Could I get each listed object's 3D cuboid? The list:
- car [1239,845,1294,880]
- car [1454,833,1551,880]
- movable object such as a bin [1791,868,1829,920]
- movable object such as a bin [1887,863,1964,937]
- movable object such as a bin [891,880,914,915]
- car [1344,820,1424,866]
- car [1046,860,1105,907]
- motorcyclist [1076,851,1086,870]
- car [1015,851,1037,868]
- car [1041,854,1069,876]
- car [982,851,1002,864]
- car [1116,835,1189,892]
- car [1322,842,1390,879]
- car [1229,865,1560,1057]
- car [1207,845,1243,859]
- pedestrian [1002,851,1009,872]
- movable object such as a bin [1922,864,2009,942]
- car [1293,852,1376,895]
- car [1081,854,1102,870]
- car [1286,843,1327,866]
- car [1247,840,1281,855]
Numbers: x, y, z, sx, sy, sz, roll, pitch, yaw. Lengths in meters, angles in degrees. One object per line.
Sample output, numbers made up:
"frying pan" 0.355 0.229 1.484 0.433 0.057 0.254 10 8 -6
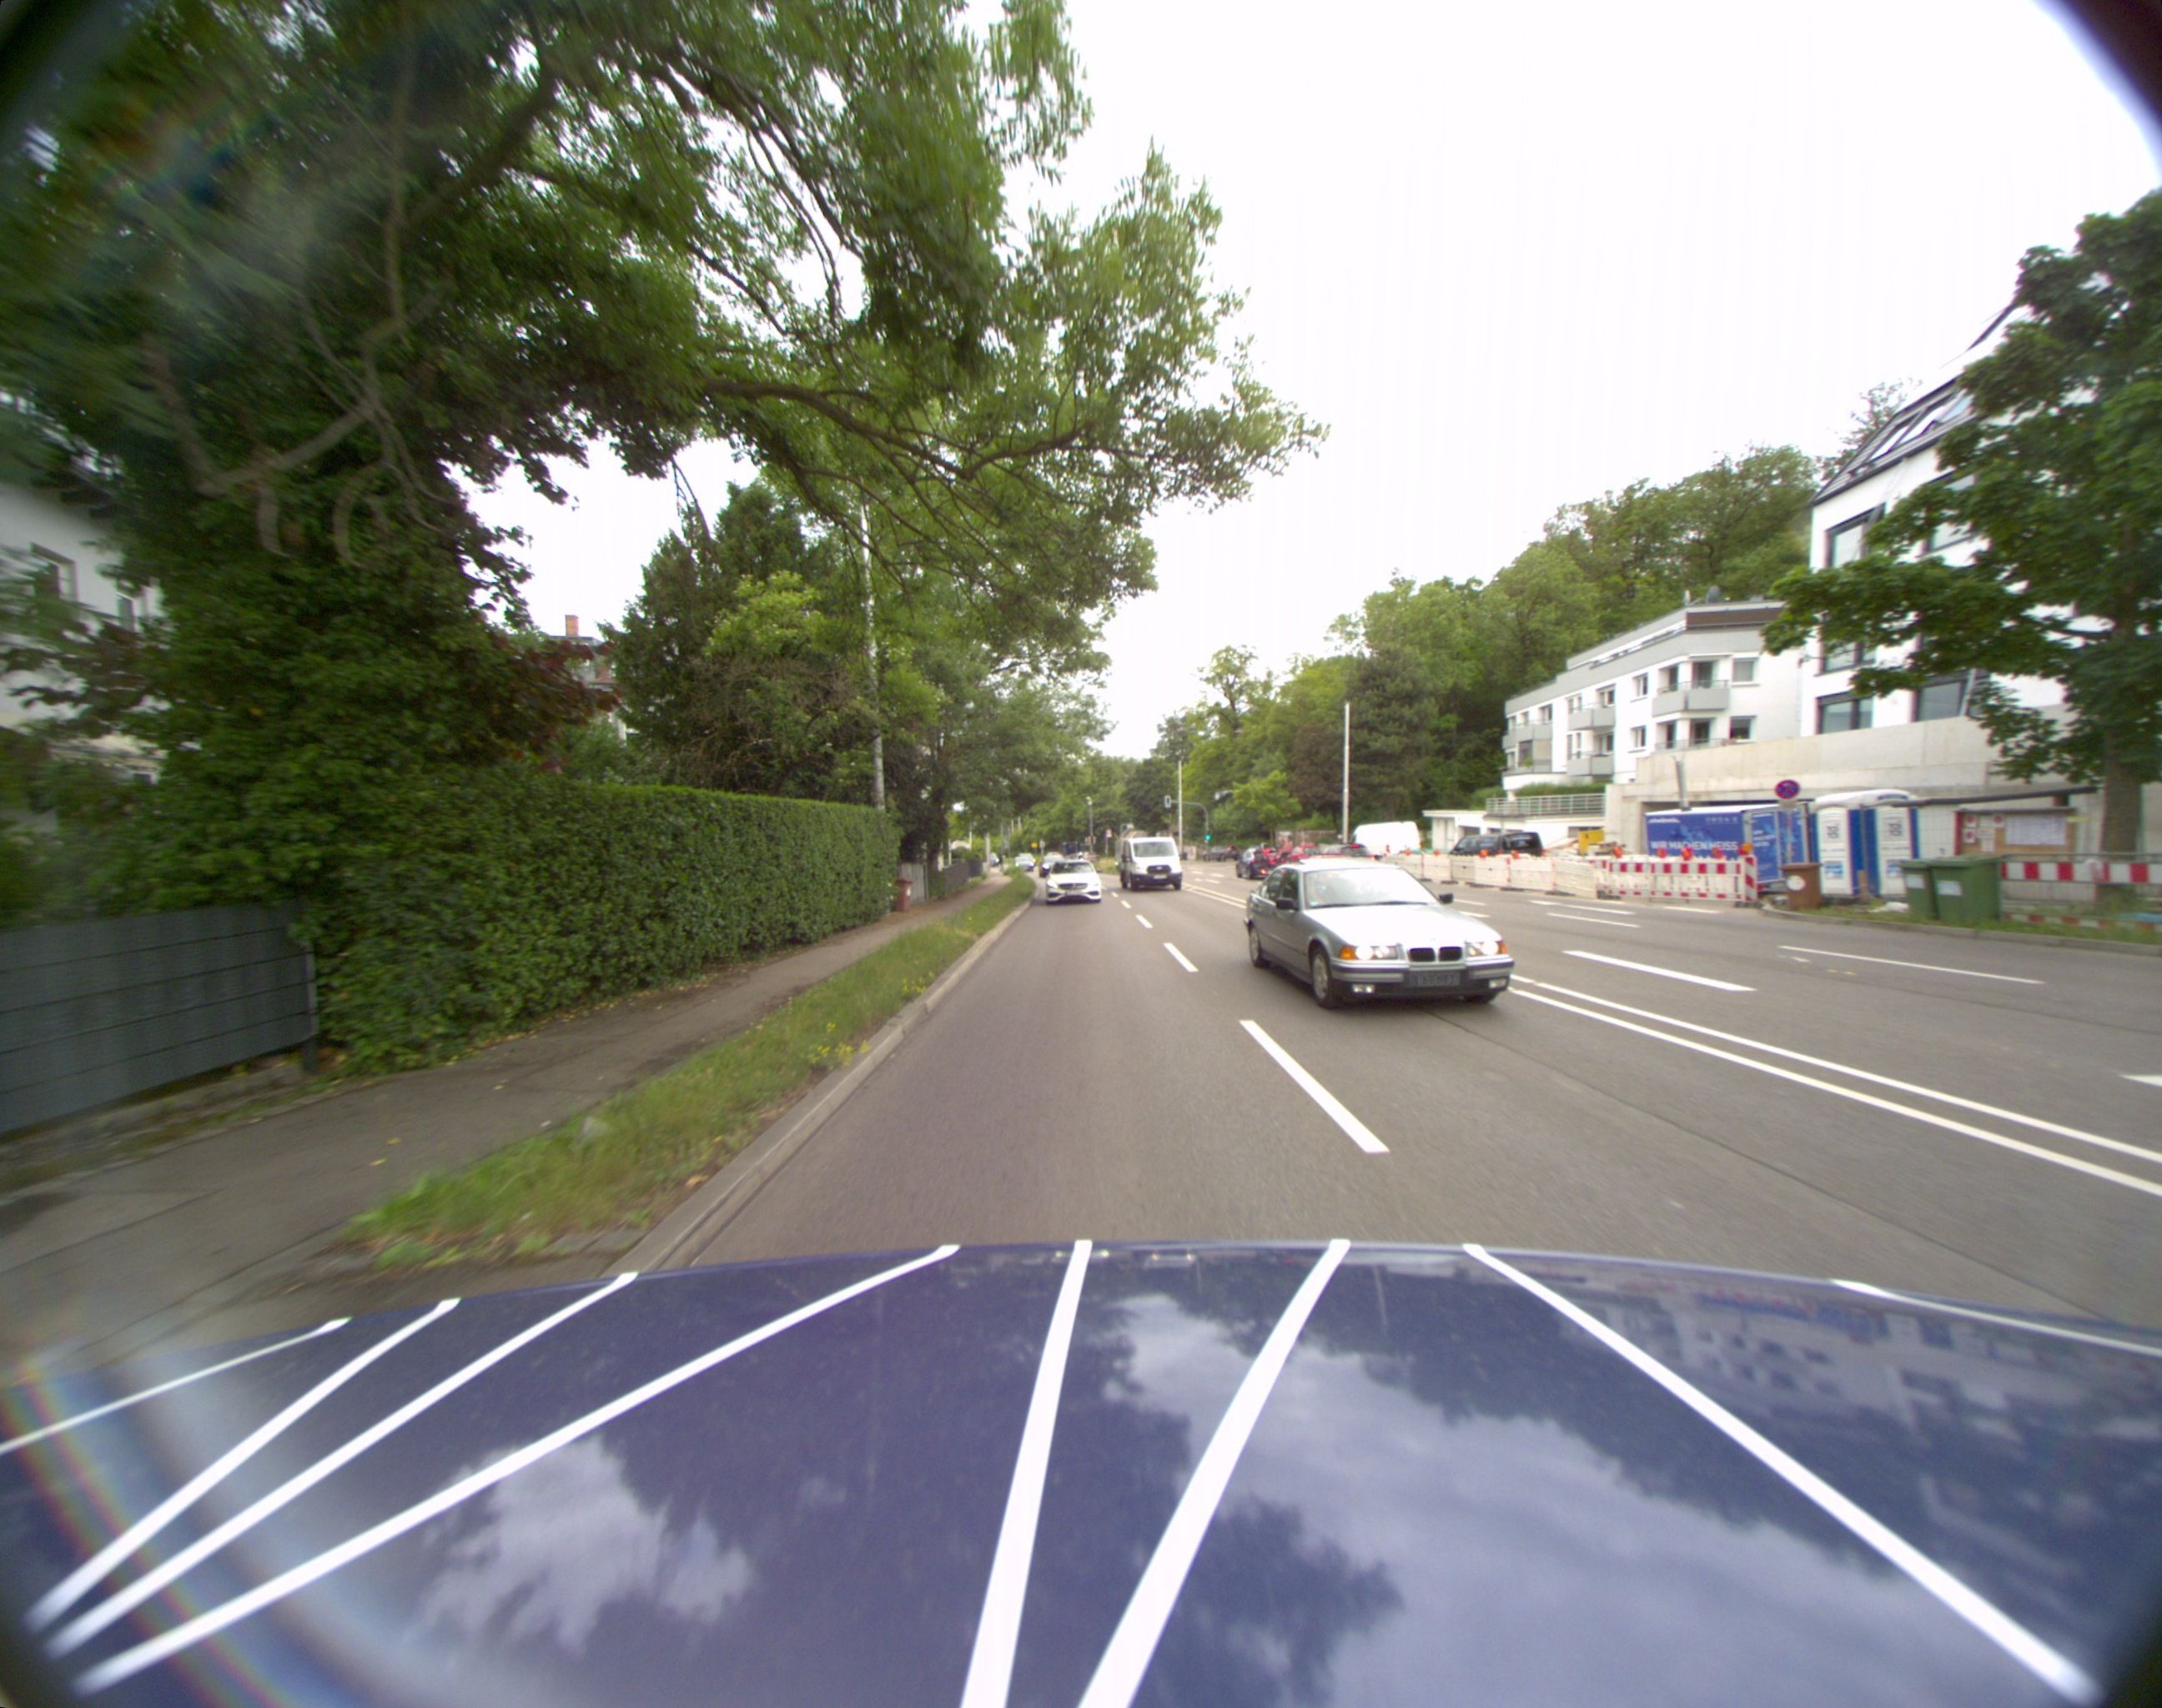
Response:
"car" 9.170 0.365 37.934 1.779 1.588 4.664 -1 1 3
"car" 16.963 0.069 30.849 1.810 1.741 4.251 -2 1 4
"movable object such as a bin" 13.953 0.765 14.548 0.327 0.969 0.425 -1 1 7
"movable object such as a bin" 13.568 0.727 12.216 0.586 1.131 0.585 -1 1 7
"movable object such as a bin" -4.726 1.145 20.168 0.474 0.906 0.454 -2 1 0
"car" 18.199 -0.643 46.038 1.999 2.512 6.531 -2 1 -2
"car" -0.227 0.944 25.863 1.821 1.339 3.999 -2 1 -2
"motorcyclist" 0.017 0.486 59.760 0.619 1.463 0.930 -3 1 -3
"car" -5.395 0.521 74.228 1.676 1.523 3.996 -2 1 -10
"car" -1.900 0.772 54.623 1.734 1.403 3.997 -2 1 -6
"car" -11.917 0.494 101.628 2.001 1.647 4.429 -2 1 -16
"car" 2.909 0.359 32.461 1.999 2.161 6.265 -1 0 -5
"car" 12.771 0.258 35.545 1.779 1.588 4.226 -1 1 3
"car" 2.946 0.883 8.340 1.639 1.375 4.619 -2 1 -1
"car" 13.765 -0.227 72.783 1.569 1.277 3.287 -2 1 -30
"pedestrian" -6.596 0.656 66.319 0.513 1.824 0.494 -2 1 -1
"movable object such as a bin" 13.496 0.737 11.612 0.589 1.131 0.645 -1 1 7
"car" 9.161 0.662 27.774 1.752 1.373 4.322 -1 1 3
"car" 1.326 0.919 93.975 2.000 1.880 3.997 -1 1 -7
"car" 15.407 0.023 52.007 1.582 1.434 3.293 -2 1 -5
"car" 17.833 -0.624 74.067 3.301 1.434 1.579 -2 1 -41
